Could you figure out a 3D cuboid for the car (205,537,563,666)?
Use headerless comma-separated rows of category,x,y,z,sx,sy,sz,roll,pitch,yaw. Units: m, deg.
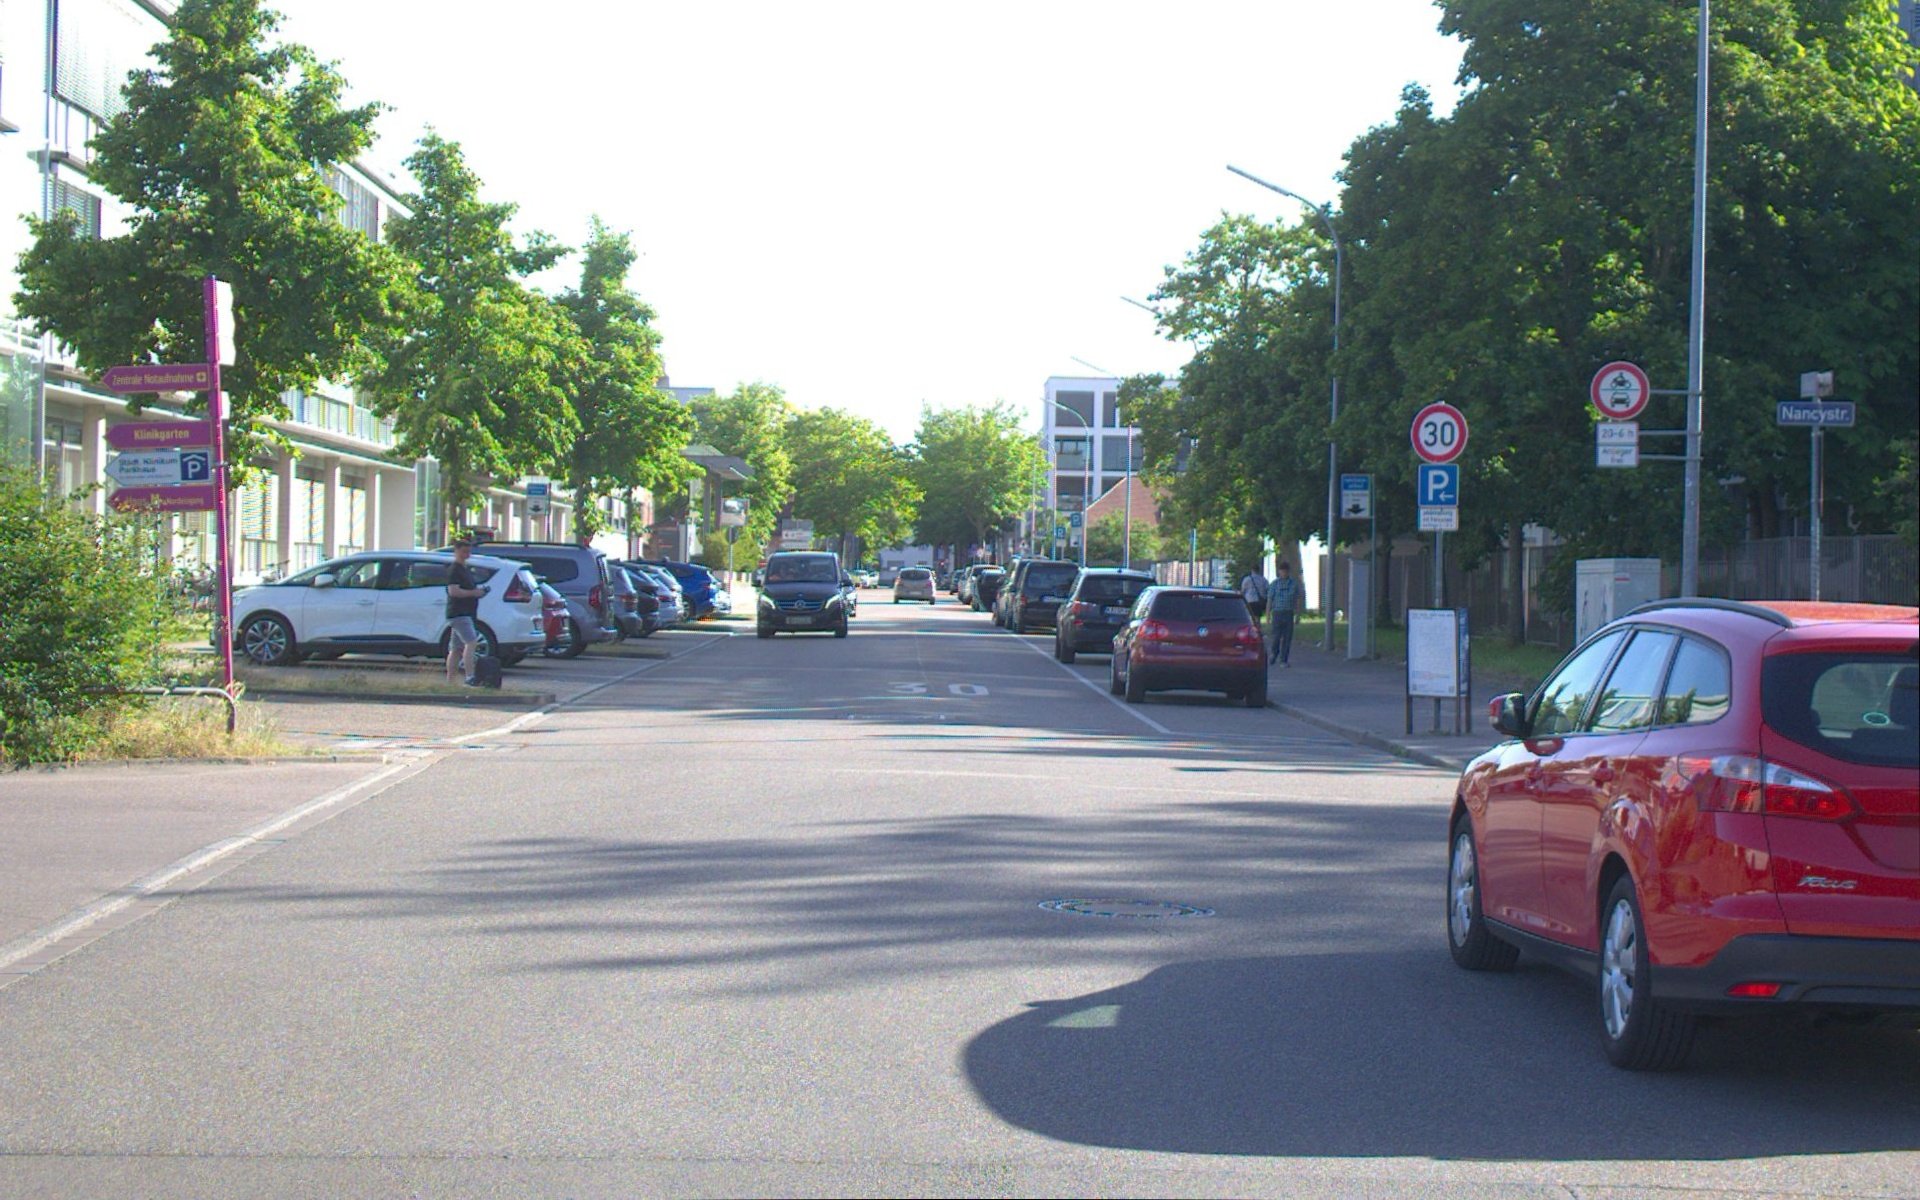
car,-8.009,0.017,48.040,4.612,1.645,1.867,1,0,3

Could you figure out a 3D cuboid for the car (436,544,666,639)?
car,-7.851,-0.169,66.308,4.245,1.606,2.048,3,0,-4

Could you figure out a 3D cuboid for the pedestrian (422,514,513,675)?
pedestrian,-5.819,-0.068,40.649,0.858,1.836,0.825,3,0,1

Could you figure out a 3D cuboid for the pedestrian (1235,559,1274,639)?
pedestrian,6.177,-0.032,72.201,0.698,1.655,0.752,-1,1,-1

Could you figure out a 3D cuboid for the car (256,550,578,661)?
car,-7.969,0.075,50.711,4.434,1.496,1.827,1,0,0

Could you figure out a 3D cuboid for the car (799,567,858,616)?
car,-3.997,-0.268,104.700,1.703,1.446,4.086,0,1,-1

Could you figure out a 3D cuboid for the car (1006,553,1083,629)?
car,2.063,-0.236,85.303,1.733,1.824,3.905,1,1,-1

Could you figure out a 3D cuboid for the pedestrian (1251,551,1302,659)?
pedestrian,5.202,0.078,56.587,0.717,1.752,0.885,-1,1,0

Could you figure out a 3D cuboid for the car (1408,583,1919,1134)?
car,2.854,0.748,11.956,1.818,1.494,4.452,3,1,-2

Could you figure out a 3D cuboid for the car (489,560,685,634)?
car,-7.778,-0.075,71.957,3.986,1.354,1.743,3,0,-4

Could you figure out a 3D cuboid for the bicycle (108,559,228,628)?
bicycle,-14.066,-0.106,61.115,0.870,1.149,2.370,3,0,20

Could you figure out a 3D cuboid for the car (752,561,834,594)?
car,-8.374,-1.107,172.728,3.987,1.514,2.000,1,-1,0

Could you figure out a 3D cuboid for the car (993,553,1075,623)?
car,1.946,-0.337,91.544,1.993,1.816,4.199,0,1,-1

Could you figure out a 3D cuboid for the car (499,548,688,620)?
car,-8.406,-0.378,79.115,4.213,1.457,1.872,3,0,-4

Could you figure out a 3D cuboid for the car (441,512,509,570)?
car,-18.015,-2.187,127.777,1.993,2.007,4.000,1,-1,-1

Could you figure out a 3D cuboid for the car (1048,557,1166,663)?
car,2.538,0.140,60.347,1.812,1.660,4.592,2,1,0

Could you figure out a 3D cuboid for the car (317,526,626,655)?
car,-7.969,-0.165,56.357,4.742,1.858,1.827,3,1,0

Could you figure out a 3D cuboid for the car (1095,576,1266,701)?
car,2.779,0.456,44.309,1.719,1.450,4.652,2,1,-2

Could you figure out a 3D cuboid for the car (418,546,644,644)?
car,-7.872,-0.103,63.353,3.986,1.601,1.872,3,0,-4

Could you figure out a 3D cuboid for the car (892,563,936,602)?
car,-1.894,-0.718,141.430,1.743,1.538,4.000,2,0,-1

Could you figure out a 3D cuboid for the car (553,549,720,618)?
car,-8.363,-0.437,89.117,4.213,1.597,1.872,3,0,-4

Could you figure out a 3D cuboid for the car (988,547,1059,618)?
car,1.787,-0.500,97.789,1.874,1.971,4.000,0,1,-1

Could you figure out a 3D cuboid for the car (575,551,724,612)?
car,-8.473,-0.511,94.049,3.986,1.546,2.000,1,1,-3

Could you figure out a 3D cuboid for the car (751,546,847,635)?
car,-3.520,-0.230,75.917,1.955,1.861,5.255,1,1,-1
